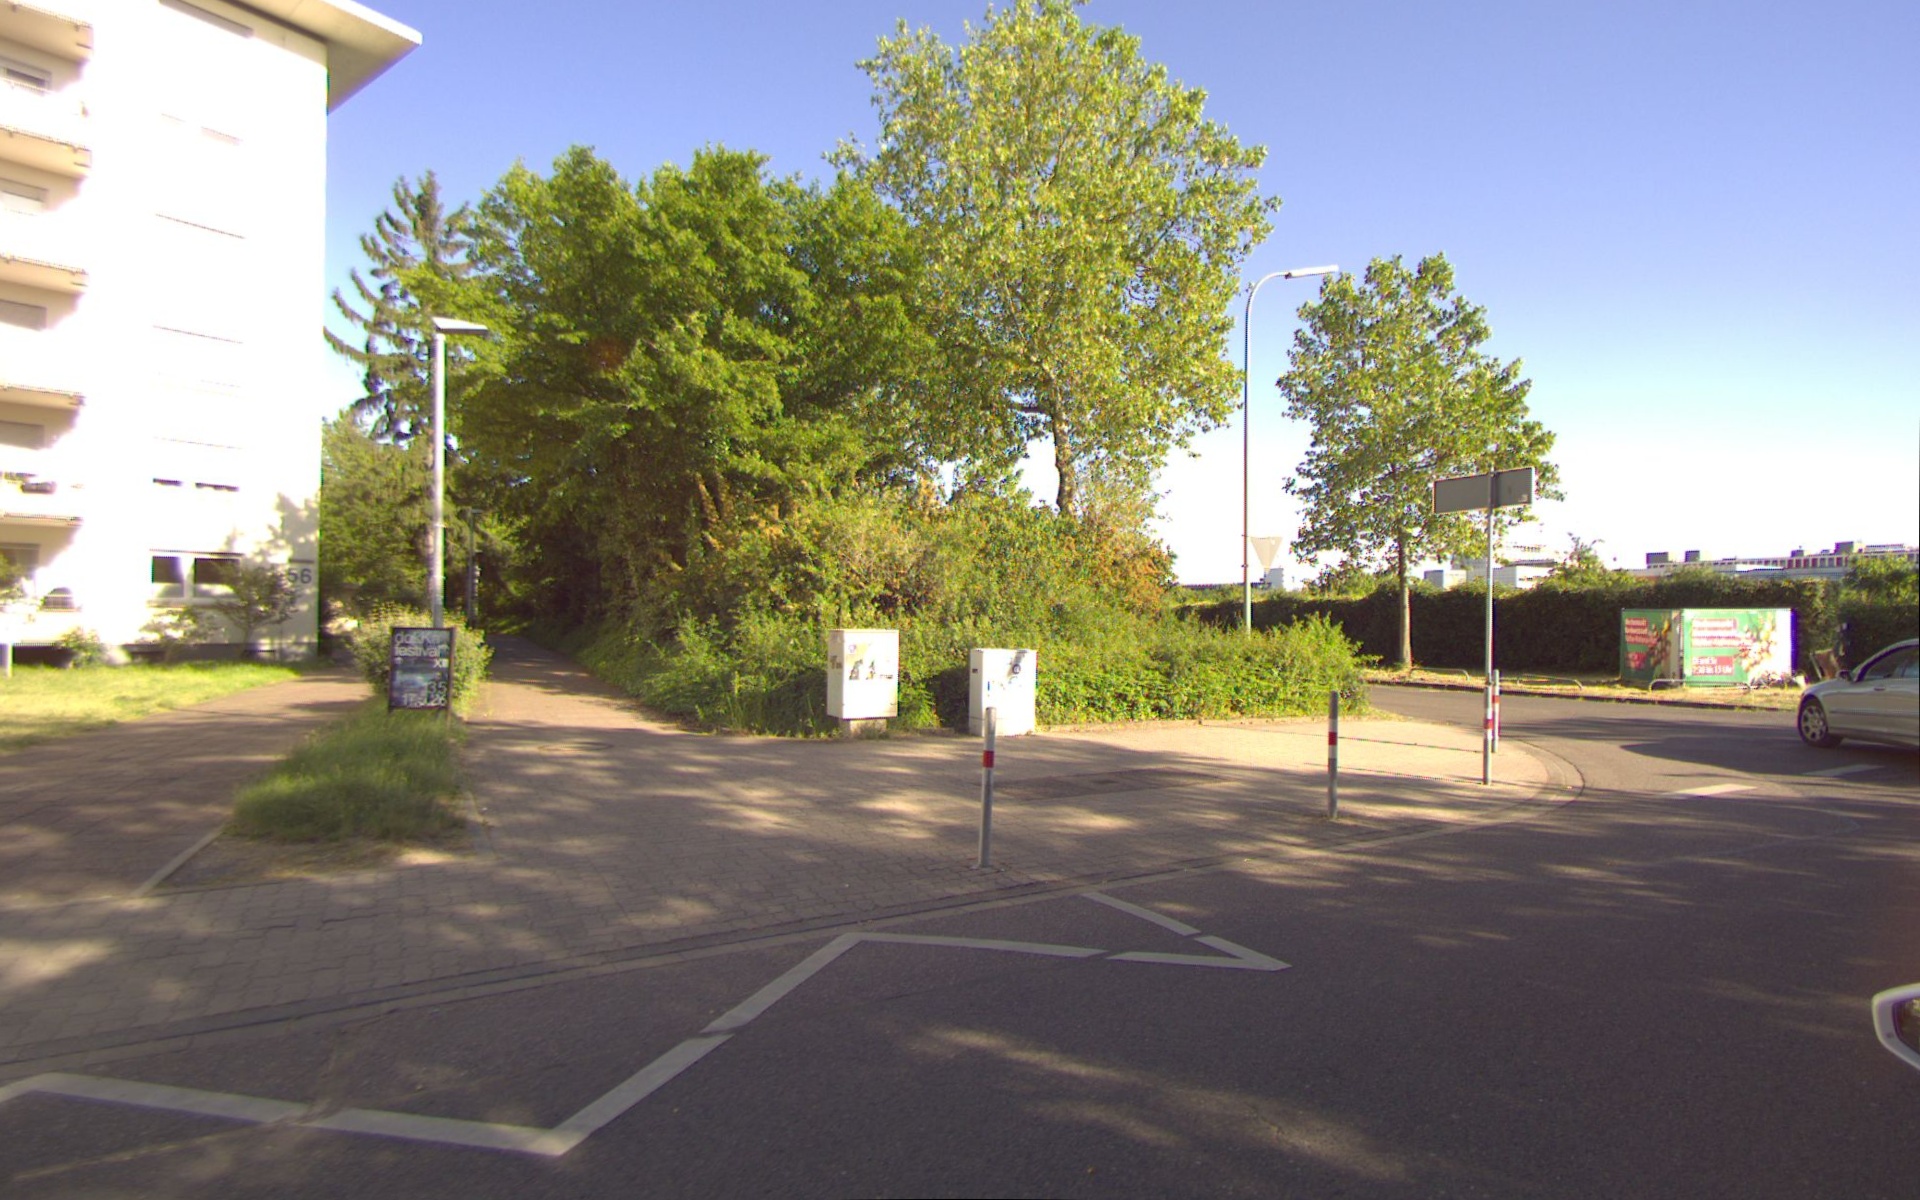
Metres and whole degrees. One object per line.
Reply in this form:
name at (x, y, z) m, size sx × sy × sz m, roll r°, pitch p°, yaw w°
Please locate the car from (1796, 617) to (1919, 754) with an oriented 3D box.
car at (11.363, 0.960, 11.249) m, size 1.708 × 1.472 × 4.001 m, roll 1°, pitch -2°, yaw 18°
